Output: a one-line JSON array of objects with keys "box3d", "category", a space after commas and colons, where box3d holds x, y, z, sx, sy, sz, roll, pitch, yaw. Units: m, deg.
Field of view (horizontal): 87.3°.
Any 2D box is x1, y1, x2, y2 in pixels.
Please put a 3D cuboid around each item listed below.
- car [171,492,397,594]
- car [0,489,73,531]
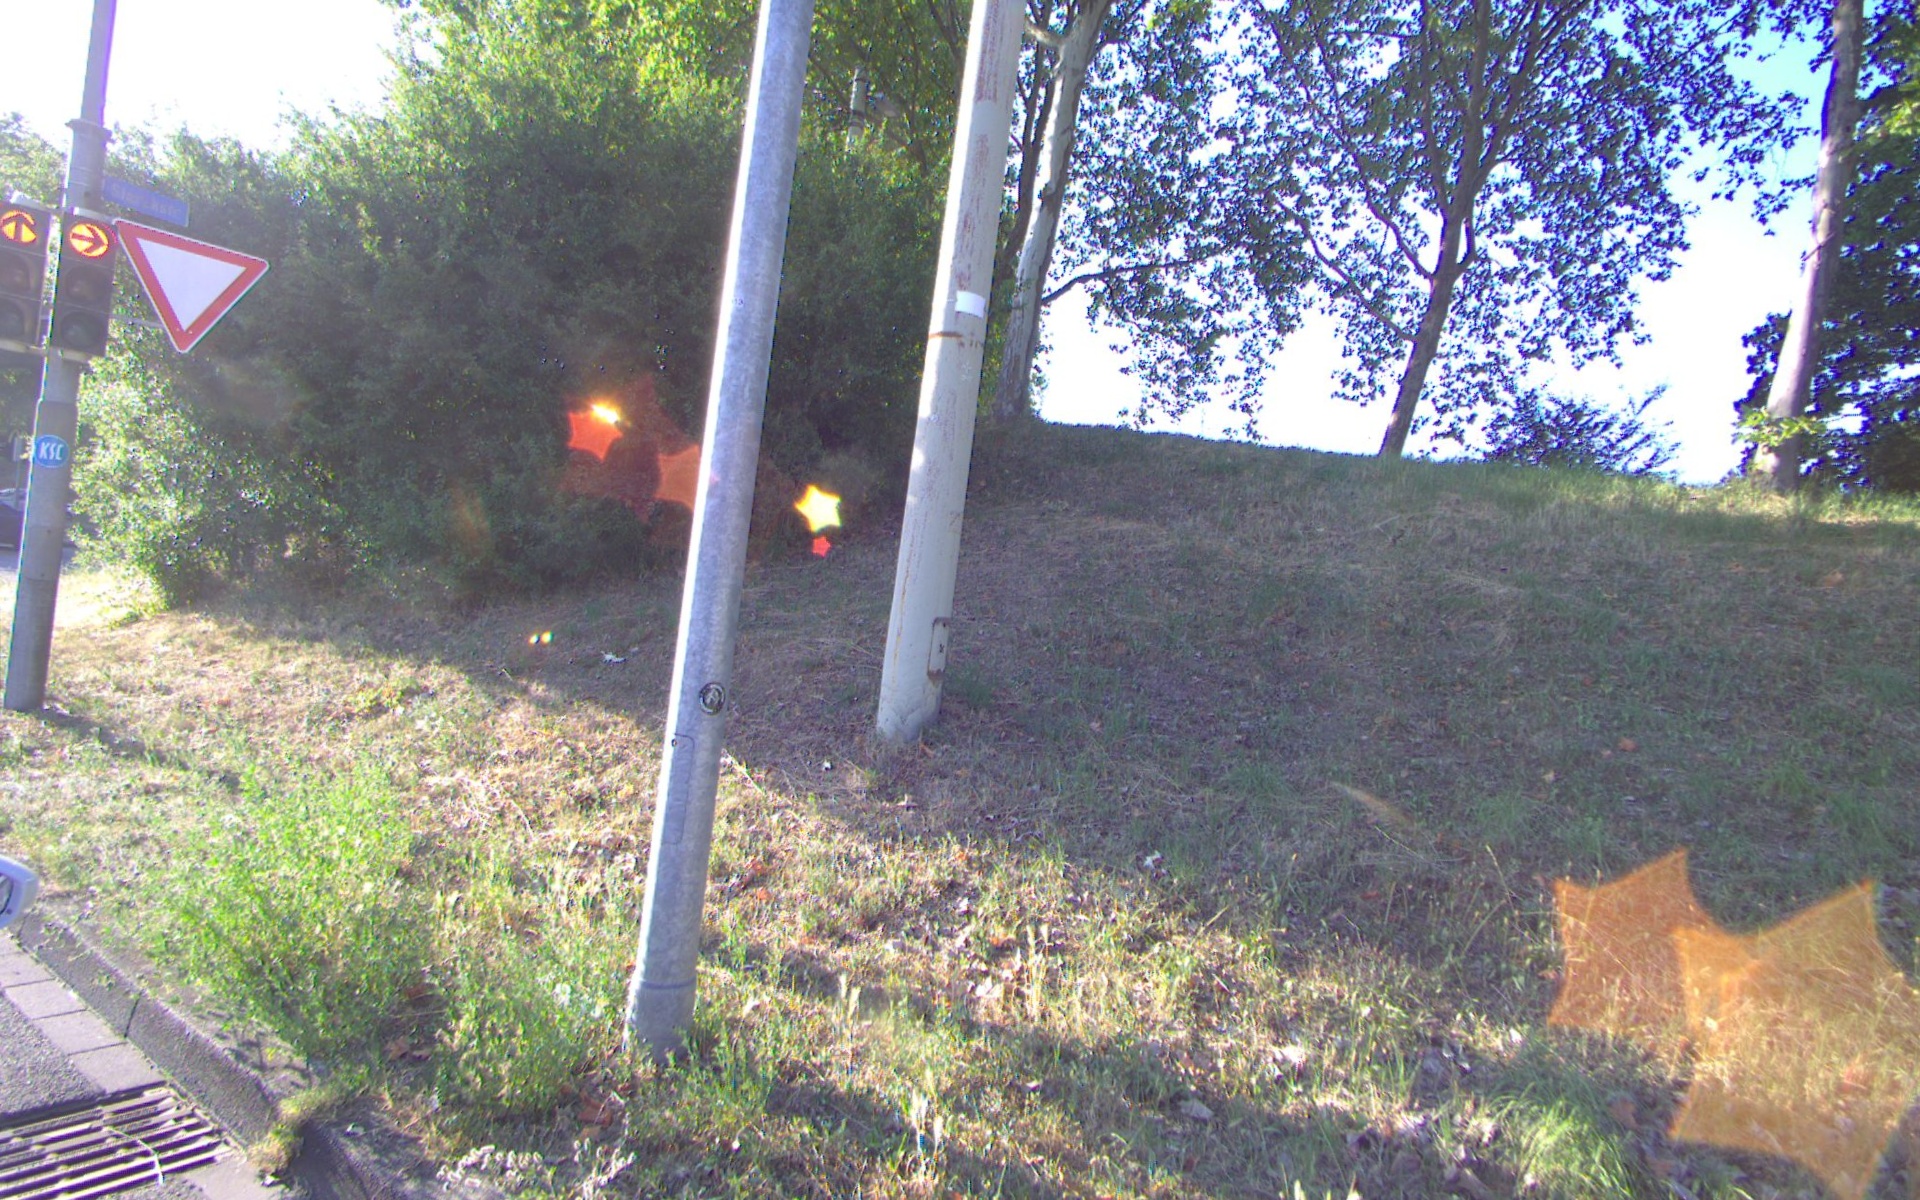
[{"box3d": [-17.898, -1.419, 27.015, 1.998, 2.014, 4.949, 7, -1, 10], "category": "car"}, {"box3d": [-43.897, -4.288, 46.512, 1.661, 1.529, 4.012, 7, -2, 13], "category": "car"}]
